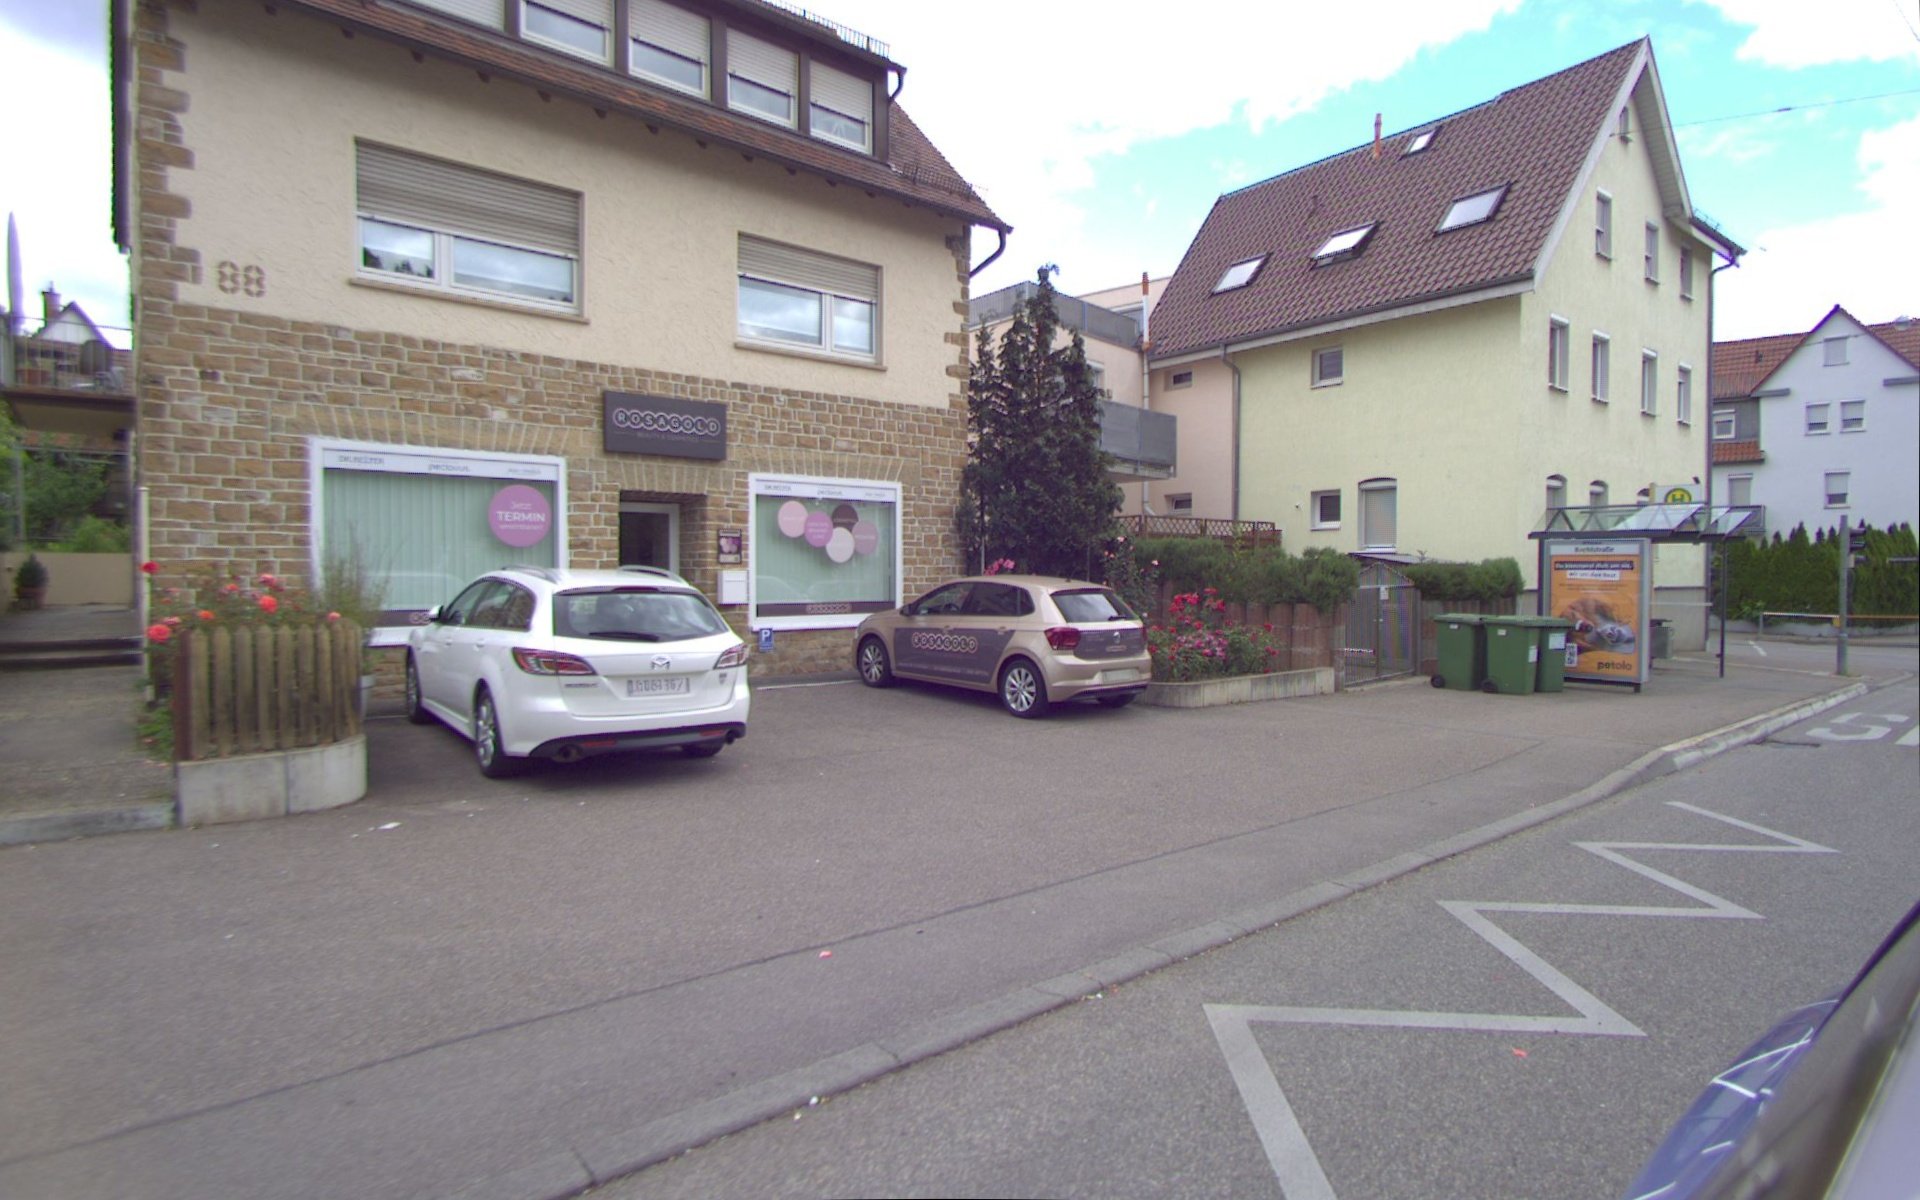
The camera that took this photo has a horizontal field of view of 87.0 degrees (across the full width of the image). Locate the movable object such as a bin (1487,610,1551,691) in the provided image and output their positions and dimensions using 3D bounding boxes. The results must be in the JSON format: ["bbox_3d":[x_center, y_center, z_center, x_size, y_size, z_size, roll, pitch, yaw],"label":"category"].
[{"bbox_3d":[7.732,0.679,13.992,0.636,1.059,0.576,-1,0,45],"label":"movable object such as a bin"}]

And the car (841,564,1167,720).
[{"bbox_3d":[0.371,0.345,11.839,1.613,1.418,3.809,-2,4,-42],"label":"car"}]

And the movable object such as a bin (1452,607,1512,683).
[{"bbox_3d":[7.729,0.655,14.980,0.636,1.059,0.576,1,2,45],"label":"movable object such as a bin"}]

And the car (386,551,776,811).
[{"bbox_3d":[-3.385,0.387,8.436,1.831,1.506,4.433,-1,4,-38],"label":"car"}]

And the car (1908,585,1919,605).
[{"bbox_3d":[79.046,-0.413,82.832,1.839,1.538,3.942,-1,1,40],"label":"car"}]

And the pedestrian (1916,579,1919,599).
[{"bbox_3d":[81.754,-0.935,86.152,0.496,1.776,0.444,2,1,43],"label":"pedestrian"}]

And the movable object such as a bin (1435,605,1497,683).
[{"bbox_3d":[7.265,0.619,14.528,0.636,1.059,0.576,1,2,45],"label":"movable object such as a bin"}]

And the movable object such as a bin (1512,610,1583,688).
[{"bbox_3d":[8.367,0.685,14.431,0.579,1.059,0.639,-1,0,-13],"label":"movable object such as a bin"}]
